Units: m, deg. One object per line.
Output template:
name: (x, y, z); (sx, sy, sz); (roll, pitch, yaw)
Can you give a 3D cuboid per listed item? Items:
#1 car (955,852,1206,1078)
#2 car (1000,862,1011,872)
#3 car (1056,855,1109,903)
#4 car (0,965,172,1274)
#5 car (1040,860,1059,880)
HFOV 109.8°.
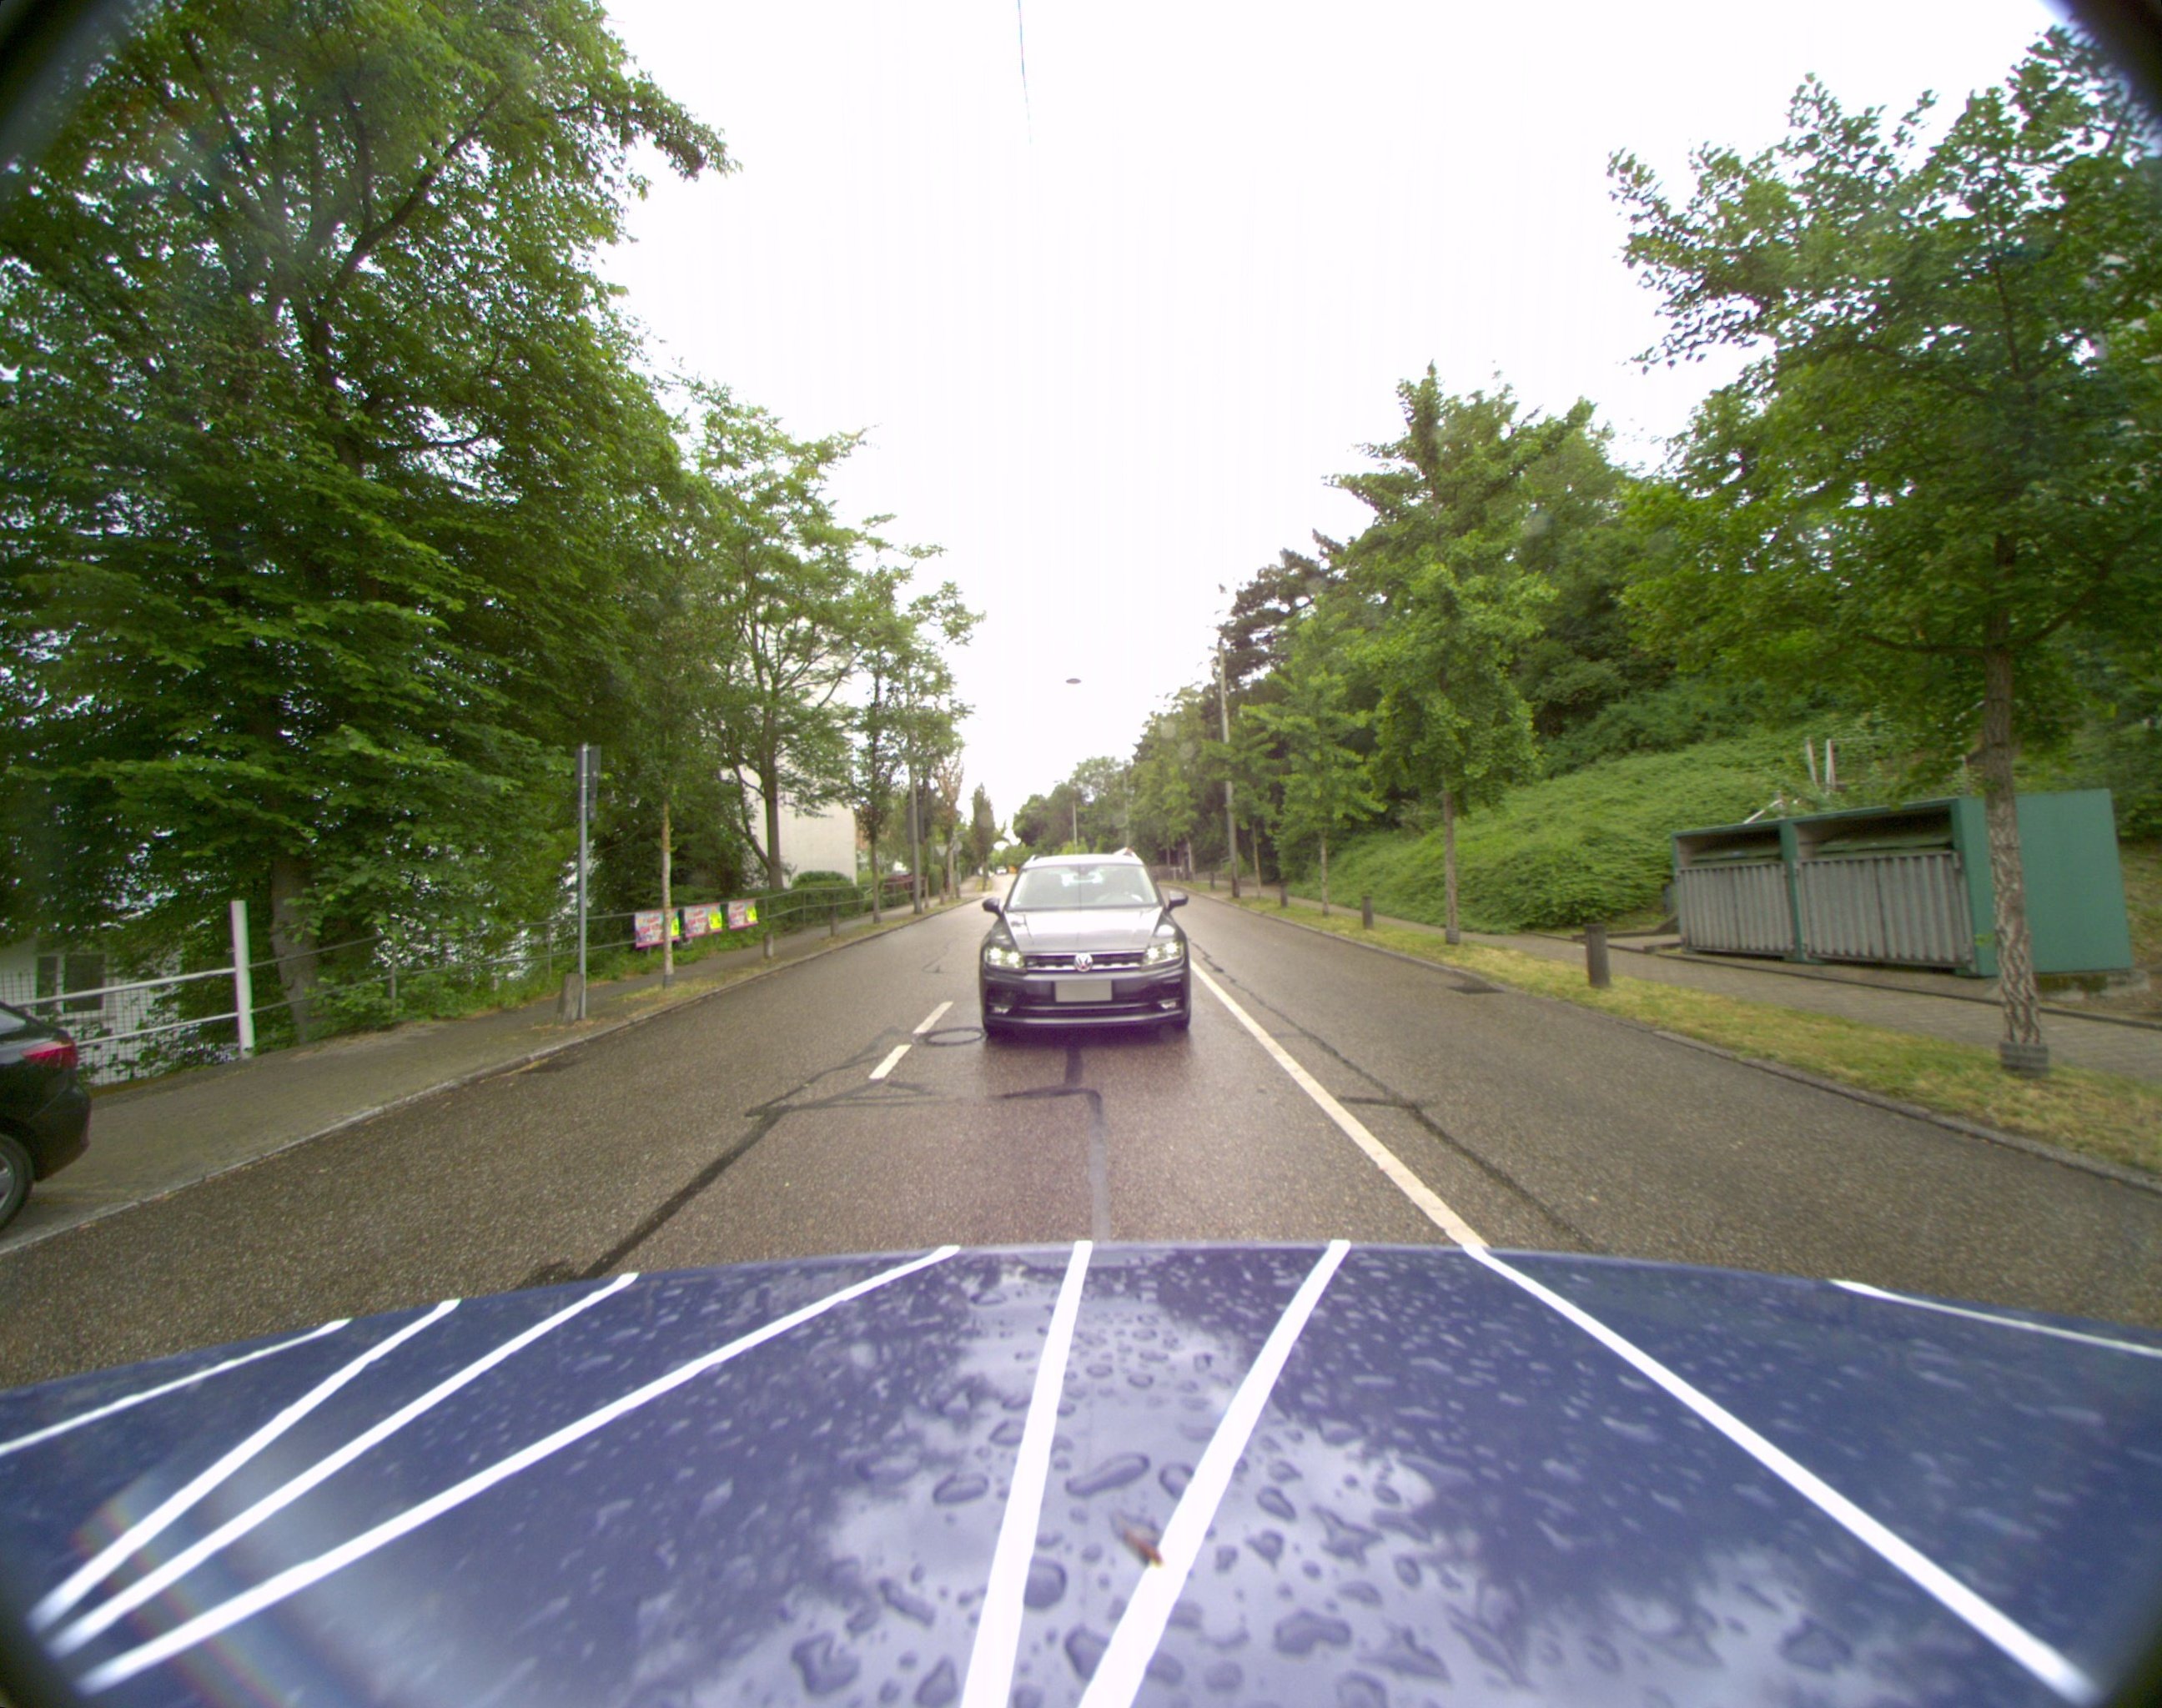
car: (0.027, 0.843, 7.940); (1.834, 1.608, 4.292); (-3, 1, 1)
car: (-13.910, 2.436, 140.837); (1.892, 1.710, 4.235); (-1, 1, -4)
car: (0.086, 0.904, 29.991); (1.834, 1.608, 4.350); (-3, 1, 1)
car: (-6.333, 1.382, 2.235); (1.999, 1.426, 4.442); (-1, 0, -1)
car: (-3.443, 1.731, 82.456); (1.835, 2.003, 4.055); (-3, 1, -5)
